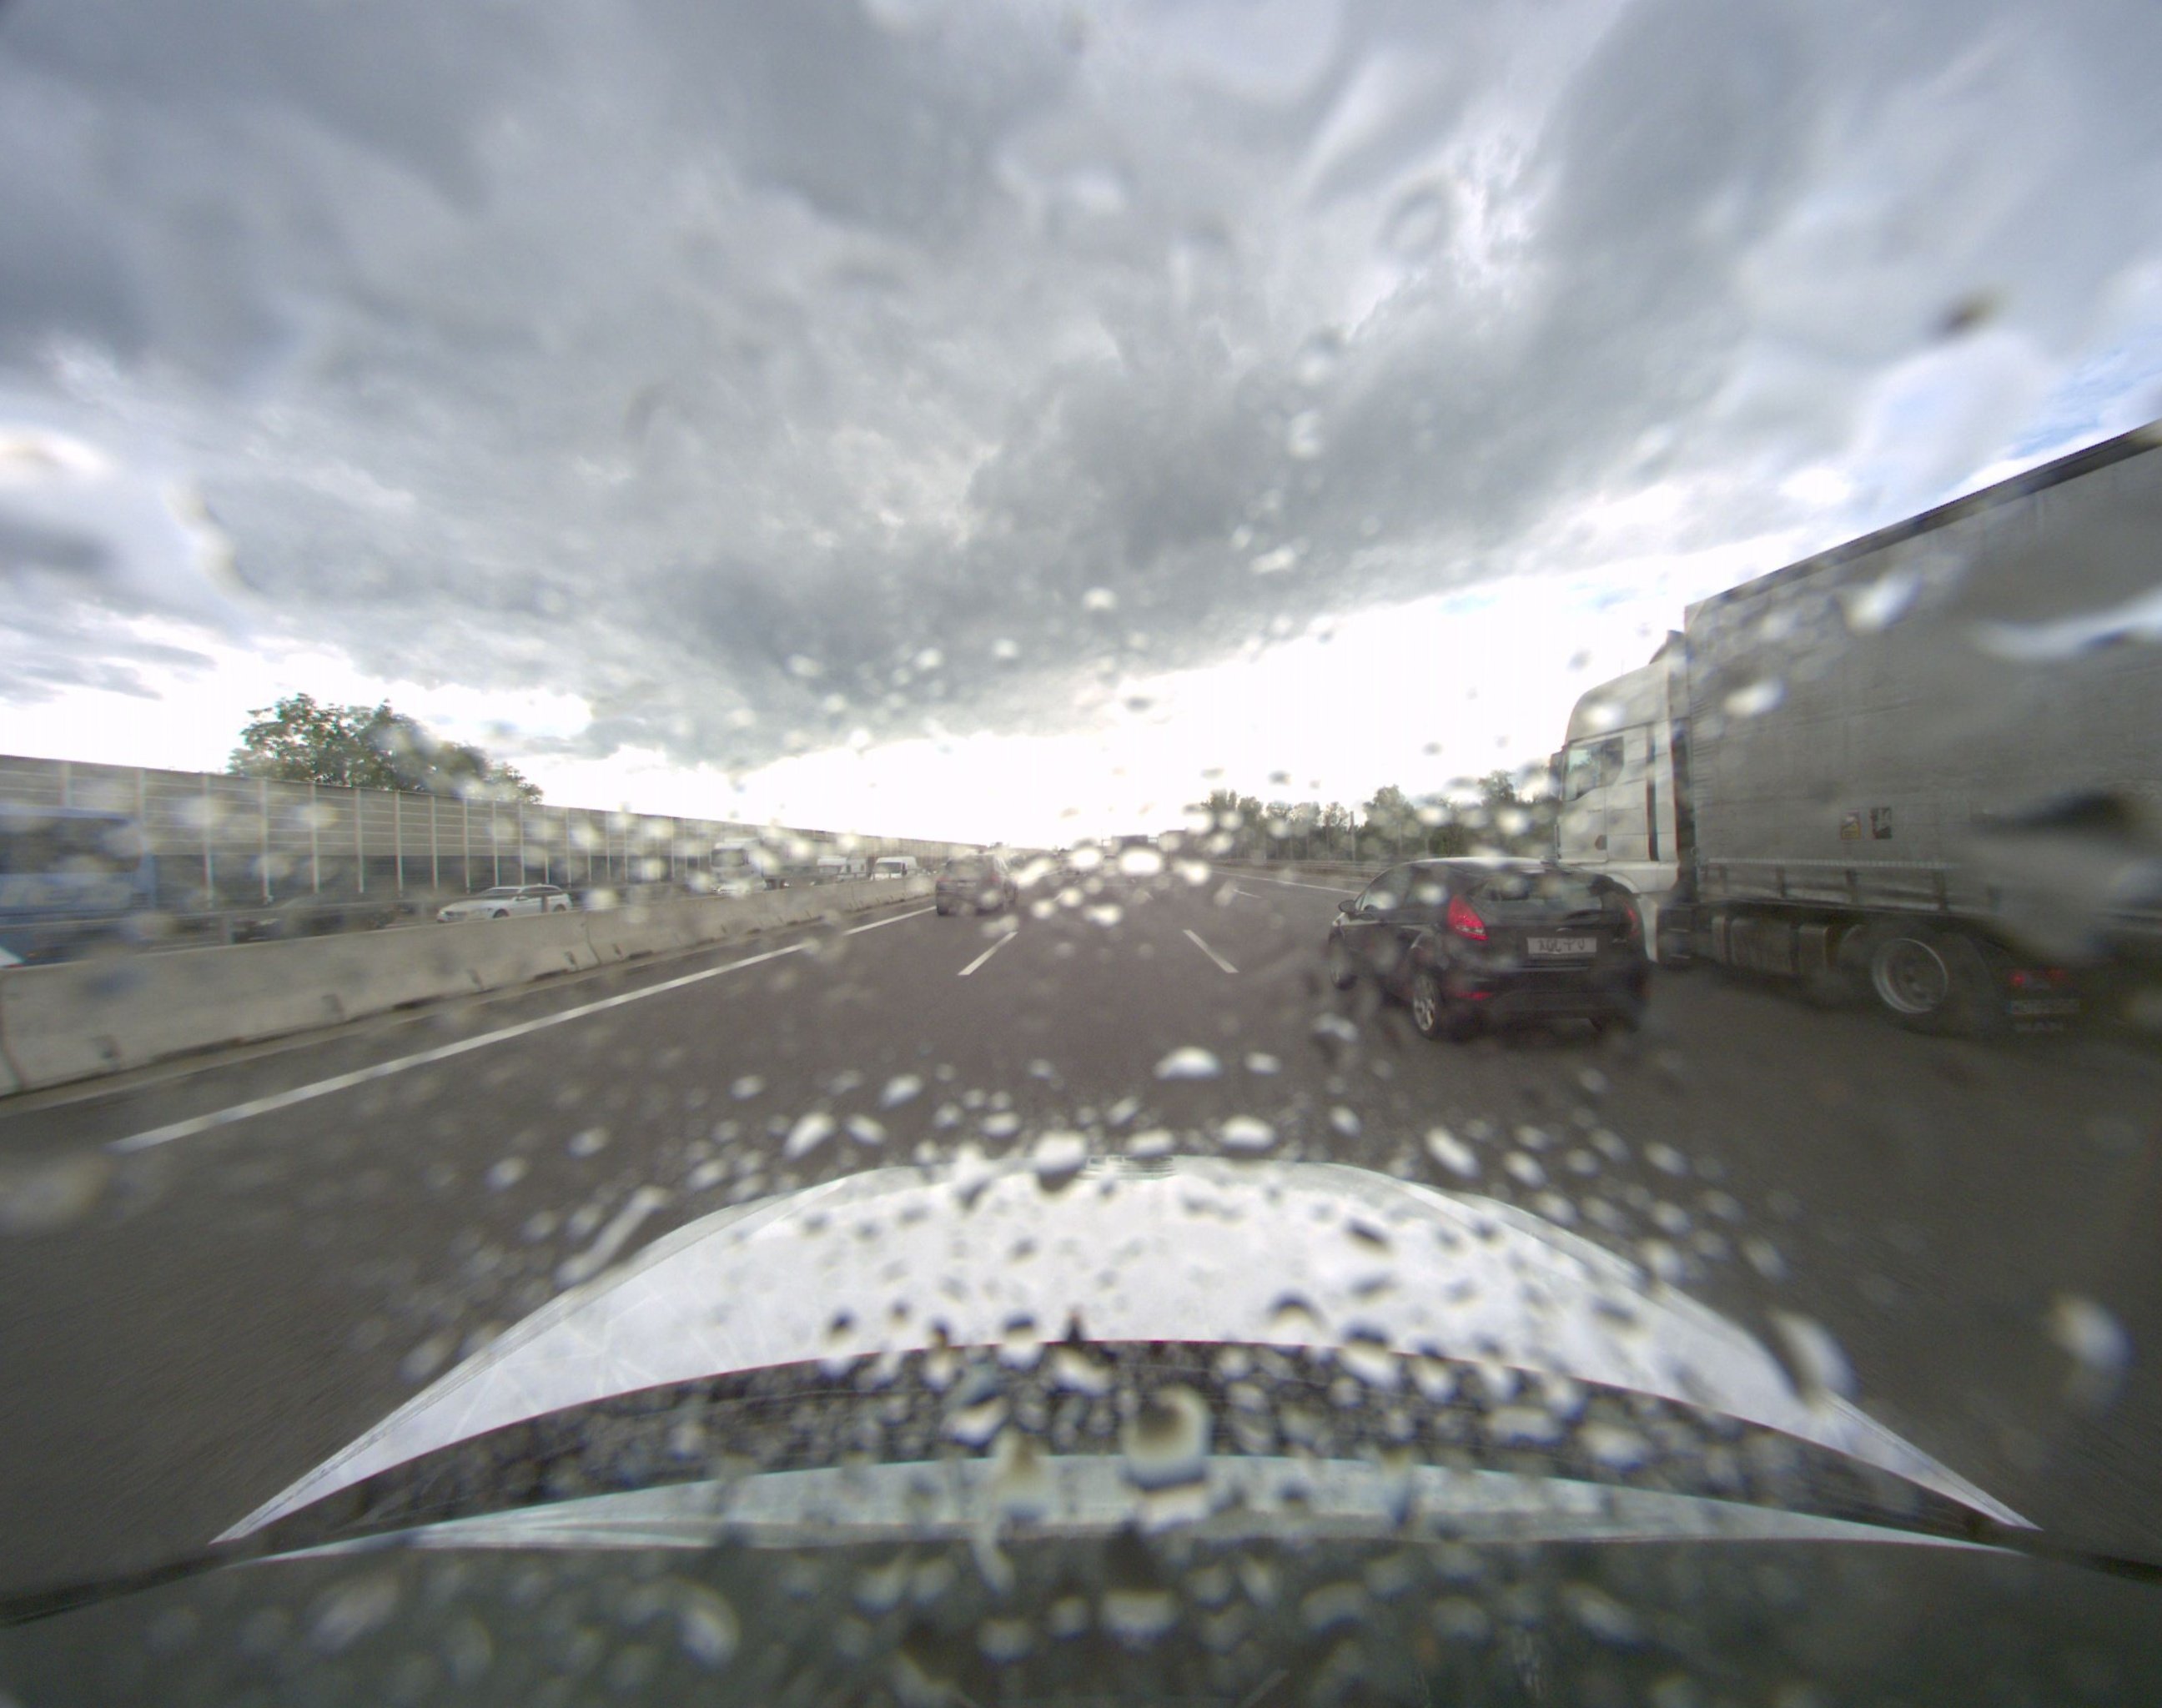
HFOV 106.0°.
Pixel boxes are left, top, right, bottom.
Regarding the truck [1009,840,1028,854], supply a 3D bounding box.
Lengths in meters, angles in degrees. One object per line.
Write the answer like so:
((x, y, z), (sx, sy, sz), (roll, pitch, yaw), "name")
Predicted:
((-16.153, -1.804, 211.373), (3.254, 3.352, 16.092), (-1, 0, 2), "truck")

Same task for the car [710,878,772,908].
((-19.951, 2.255, 48.024), (1.741, 1.525, 4.180), (-2, 0, 2), "car")

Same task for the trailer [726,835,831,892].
((-23.343, 0.643, 64.042), (2.553, 3.935, 13.823), (-1, 0, 2), "trailer")

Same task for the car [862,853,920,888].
((-12.373, 1.047, 53.589), (2.151, 2.071, 6.017), (-2, 0, 2), "car")

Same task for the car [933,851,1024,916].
((-2.939, 0.791, 24.430), (1.901, 1.691, 5.170), (-2, 0, 1), "car")

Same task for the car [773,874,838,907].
((-16.396, 2.148, 48.715), (2.071, 1.659, 4.804), (-2, 0, 2), "car")

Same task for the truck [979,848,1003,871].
((-15.967, 0.933, 144.548), (3.067, 3.935, 8.057), (-1, 0, 2), "truck")

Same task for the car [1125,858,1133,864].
((11.752, 1.790, 200.765), (1.829, 1.441, 4.055), (-1, 0, 0), "car")

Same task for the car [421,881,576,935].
((-20.642, 1.845, 29.174), (1.875, 1.525, 4.823), (-2, 0, 2), "car")

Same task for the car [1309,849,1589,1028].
((3.474, 0.690, 8.283), (1.442, 1.441, 3.164), (-1, 0, 1), "car")

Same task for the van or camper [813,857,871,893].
((-19.337, 1.594, 66.300), (2.335, 2.641, 7.153), (-2, 0, 2), "van or camper")

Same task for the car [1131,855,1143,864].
((9.692, 0.944, 141.348), (1.829, 1.441, 4.055), (-1, 0, 0), "car")

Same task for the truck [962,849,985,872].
((-20.254, 1.157, 154.135), (2.700, 4.074, 8.919), (-1, 0, 2), "truck")

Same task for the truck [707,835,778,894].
((-23.583, 0.673, 57.024), (2.567, 3.935, 5.179), (-1, 0, 2), "truck")

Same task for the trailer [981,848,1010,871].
((-15.735, 0.905, 151.024), (3.067, 3.935, 14.990), (-1, 0, 2), "trailer")

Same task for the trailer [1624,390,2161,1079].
((7.746, -0.696, 2.517), (2.951, 4.019, 14.121), (-1, 0, 1), "trailer")

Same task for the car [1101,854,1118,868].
((3.219, 0.784, 93.374), (1.767, 1.441, 4.053), (-1, 0, -1), "car")

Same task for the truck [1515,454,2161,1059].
((7.852, -0.697, 8.720), (2.951, 4.020, 6.590), (-1, 0, 1), "truck")

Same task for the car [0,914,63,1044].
((-13.961, 1.562, 8.317), (1.741, 1.525, 4.180), (-2, 0, 2), "car")

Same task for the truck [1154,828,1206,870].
((10.524, -0.536, 88.244), (4.166, 4.288, 12.612), (0, 0, 0), "truck")

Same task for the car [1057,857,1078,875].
((-1.212, 1.028, 71.699), (1.755, 1.369, 5.058), (-1, 0, -1), "car")

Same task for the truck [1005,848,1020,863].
((-15.240, 0.246, 182.818), (2.312, 3.347, 8.357), (-1, 0, 2), "truck")

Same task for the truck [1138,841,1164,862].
((14.008, -0.515, 163.969), (4.229, 4.176, 11.990), (-1, 0, 1), "truck")

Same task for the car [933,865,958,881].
((-14.921, 2.066, 89.948), (1.916, 1.599, 4.254), (-2, 0, 2), "car")

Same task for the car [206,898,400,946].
((-25.090, 2.149, 26.546), (1.875, 1.114, 4.496), (-2, 0, 2), "car")

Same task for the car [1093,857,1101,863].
((3.990, 1.423, 201.491), (1.767, 1.441, 3.872), (-1, 0, -1), "car")

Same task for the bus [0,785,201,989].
((-21.614, 0.669, 12.420), (3.080, 3.758, 11.887), (-2, 0, 2), "bus")
